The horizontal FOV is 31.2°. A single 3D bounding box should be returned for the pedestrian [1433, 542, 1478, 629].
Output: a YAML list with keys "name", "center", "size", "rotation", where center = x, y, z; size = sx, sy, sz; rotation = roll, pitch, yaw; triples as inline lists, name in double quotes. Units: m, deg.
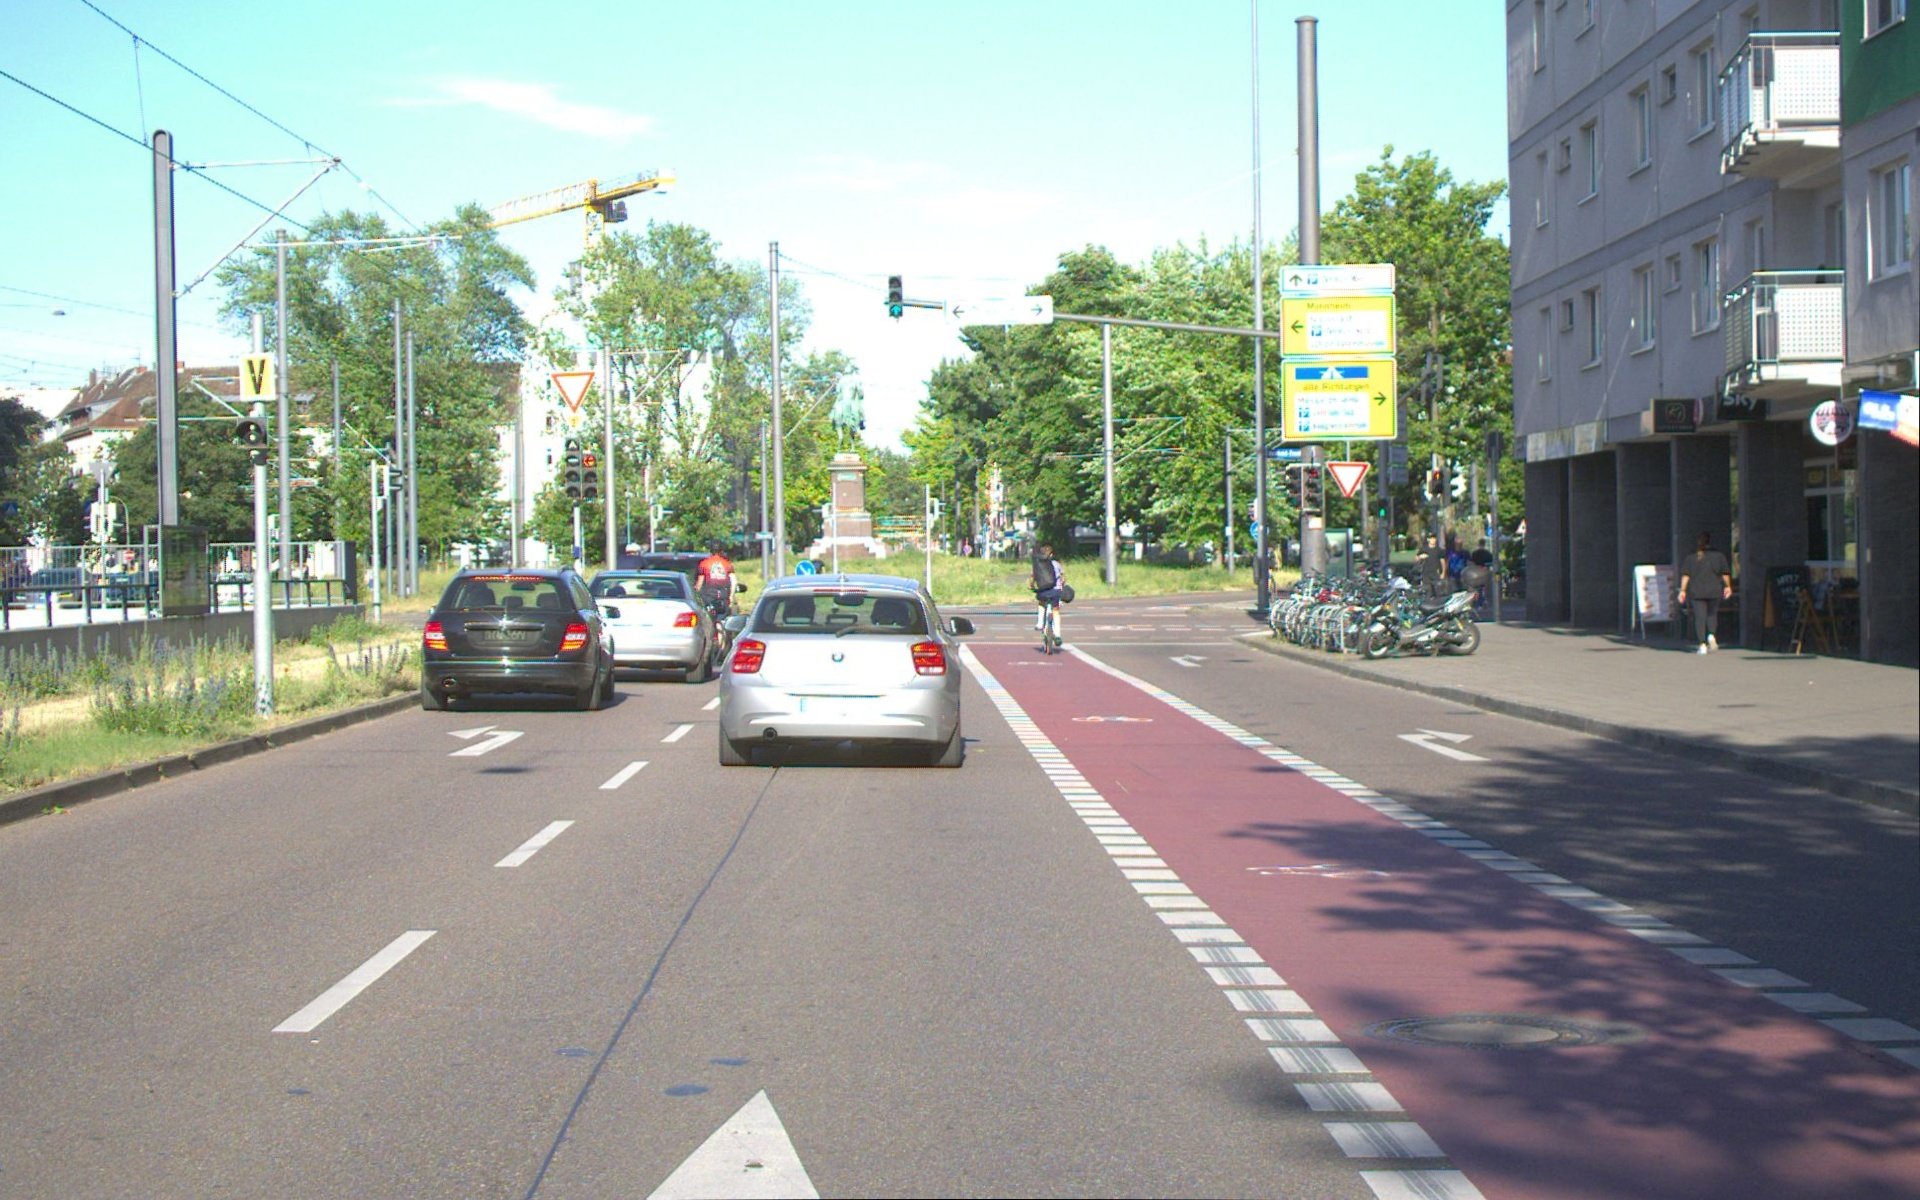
- name: "pedestrian"
  center: [10.663, -0.317, 73.980]
  size: [0.826, 1.850, 0.916]
  rotation: [1, 0, 14]

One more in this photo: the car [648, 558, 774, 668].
- name: "car"
  center: [-3.766, 0.165, 52.515]
  size: [1.704, 1.616, 4.000]
  rotation: [0, 1, -1]

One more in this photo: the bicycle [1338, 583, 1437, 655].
- name: "bicycle"
  center: [6.546, 0.293, 52.695]
  size: [1.465, 1.063, 0.257]
  rotation: [-2, 0, 1]

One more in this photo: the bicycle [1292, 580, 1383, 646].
- name: "bicycle"
  center: [6.349, 0.213, 57.831]
  size: [1.465, 1.063, 0.257]
  rotation: [-2, 0, 1]

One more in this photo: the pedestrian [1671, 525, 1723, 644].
- name: "pedestrian"
  center: [9.861, -0.213, 45.999]
  size: [0.573, 1.577, 0.556]
  rotation: [0, 1, -1]

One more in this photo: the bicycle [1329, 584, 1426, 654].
- name: "bicycle"
  center: [6.524, 0.294, 53.735]
  size: [1.465, 1.063, 0.257]
  rotation: [-2, 0, 1]

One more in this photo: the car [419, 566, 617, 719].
- name: "car"
  center: [-4.482, 0.392, 35.397]
  size: [1.726, 1.465, 4.411]
  rotation: [0, 0, -3]

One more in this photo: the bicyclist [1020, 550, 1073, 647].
- name: "bicyclist"
  center: [1.388, -0.029, 55.310]
  size: [0.785, 1.526, 0.895]
  rotation: [1, 0, -1]

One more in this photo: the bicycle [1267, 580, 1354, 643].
- name: "bicycle"
  center: [6.120, 0.201, 60.078]
  size: [1.465, 1.063, 0.257]
  rotation: [-2, 0, 1]

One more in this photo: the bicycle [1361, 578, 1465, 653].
- name: "bicycle"
  center: [6.665, 0.232, 50.620]
  size: [1.465, 1.063, 0.257]
  rotation: [-2, 0, 1]

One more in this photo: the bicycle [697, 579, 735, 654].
- name: "bicycle"
  center: [-3.496, 0.229, 49.280]
  size: [0.338, 1.053, 1.779]
  rotation: [0, 1, -11]

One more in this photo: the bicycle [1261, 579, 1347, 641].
- name: "bicycle"
  center: [6.096, 0.180, 60.892]
  size: [1.465, 1.063, 0.257]
  rotation: [-2, 0, 1]

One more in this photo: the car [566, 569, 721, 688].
- name: "car"
  center: [-3.950, 0.327, 43.442]
  size: [1.644, 1.416, 4.000]
  rotation: [1, 0, -1]

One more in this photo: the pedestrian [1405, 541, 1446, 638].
- name: "pedestrian"
  center: [9.789, -0.222, 72.298]
  size: [0.791, 2.007, 0.870]
  rotation: [1, 0, 6]

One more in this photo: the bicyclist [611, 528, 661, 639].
- name: "bicyclist"
  center: [-4.627, -0.235, 49.059]
  size: [0.616, 1.566, 0.686]
  rotation: [1, 0, 0]

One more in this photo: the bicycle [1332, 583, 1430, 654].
- name: "bicycle"
  center: [6.534, 0.286, 53.412]
  size: [1.465, 1.063, 0.257]
  rotation: [-2, 0, 1]

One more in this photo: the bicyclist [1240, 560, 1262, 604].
- name: "bicyclist"
  center: [9.076, -0.562, 107.251]
  size: [0.616, 1.375, 0.686]
  rotation: [1, 0, 0]

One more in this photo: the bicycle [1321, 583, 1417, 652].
- name: "bicycle"
  center: [6.475, 0.277, 54.459]
  size: [1.465, 1.063, 0.257]
  rotation: [-2, 0, 1]

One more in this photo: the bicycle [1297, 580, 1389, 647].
- name: "bicycle"
  center: [6.319, 0.229, 56.738]
  size: [1.465, 1.063, 0.257]
  rotation: [-2, 0, 1]

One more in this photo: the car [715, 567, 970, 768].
- name: "car"
  center: [-0.870, 0.458, 26.273]
  size: [1.798, 1.410, 4.000]
  rotation: [0, 1, -1]

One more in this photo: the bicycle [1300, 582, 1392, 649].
- name: "bicycle"
  center: [6.334, 0.255, 56.415]
  size: [1.465, 1.063, 0.257]
  rotation: [-2, 0, 1]

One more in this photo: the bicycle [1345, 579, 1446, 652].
- name: "bicycle"
  center: [6.579, 0.232, 51.903]
  size: [1.465, 1.063, 0.257]
  rotation: [-2, 0, 1]

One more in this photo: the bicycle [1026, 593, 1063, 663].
- name: "bicycle"
  center: [1.359, 0.445, 55.324]
  size: [0.499, 1.085, 1.997]
  rotation: [1, 0, -1]

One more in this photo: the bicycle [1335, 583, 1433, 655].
- name: "bicycle"
  center: [6.541, 0.295, 53.068]
  size: [1.465, 1.063, 0.257]
  rotation: [-2, 0, 1]

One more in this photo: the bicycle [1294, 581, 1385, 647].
- name: "bicycle"
  center: [6.347, 0.228, 57.490]
  size: [1.465, 1.063, 0.257]
  rotation: [-2, 0, 1]

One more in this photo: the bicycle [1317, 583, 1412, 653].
- name: "bicycle"
  center: [6.448, 0.284, 54.802]
  size: [1.465, 1.063, 0.257]
  rotation: [-2, 0, 1]

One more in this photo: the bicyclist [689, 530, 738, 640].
- name: "bicyclist"
  center: [-3.535, -0.224, 49.297]
  size: [0.616, 1.566, 0.686]
  rotation: [0, 1, -12]

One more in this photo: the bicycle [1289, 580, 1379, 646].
- name: "bicycle"
  center: [6.331, 0.220, 58.179]
  size: [1.465, 1.063, 0.257]
  rotation: [-2, 0, 1]

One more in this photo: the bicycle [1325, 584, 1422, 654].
- name: "bicycle"
  center: [6.511, 0.299, 54.114]
  size: [1.465, 1.063, 0.257]
  rotation: [-2, 0, 1]

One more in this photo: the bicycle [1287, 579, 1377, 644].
- name: "bicycle"
  center: [6.330, 0.201, 58.514]
  size: [1.465, 1.063, 0.257]
  rotation: [-2, 0, 1]

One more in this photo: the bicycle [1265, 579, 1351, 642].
- name: "bicycle"
  center: [6.115, 0.191, 60.448]
  size: [1.465, 1.063, 0.257]
  rotation: [-2, 0, 1]

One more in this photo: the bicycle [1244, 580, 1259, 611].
- name: "bicycle"
  center: [9.098, -0.139, 107.300]
  size: [0.352, 0.955, 1.573]
  rotation: [1, 0, 0]

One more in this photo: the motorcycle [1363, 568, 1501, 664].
- name: "motorcycle"
  center: [6.682, 0.220, 48.736]
  size: [1.855, 1.296, 0.652]
  rotation: [-2, 0, 2]
